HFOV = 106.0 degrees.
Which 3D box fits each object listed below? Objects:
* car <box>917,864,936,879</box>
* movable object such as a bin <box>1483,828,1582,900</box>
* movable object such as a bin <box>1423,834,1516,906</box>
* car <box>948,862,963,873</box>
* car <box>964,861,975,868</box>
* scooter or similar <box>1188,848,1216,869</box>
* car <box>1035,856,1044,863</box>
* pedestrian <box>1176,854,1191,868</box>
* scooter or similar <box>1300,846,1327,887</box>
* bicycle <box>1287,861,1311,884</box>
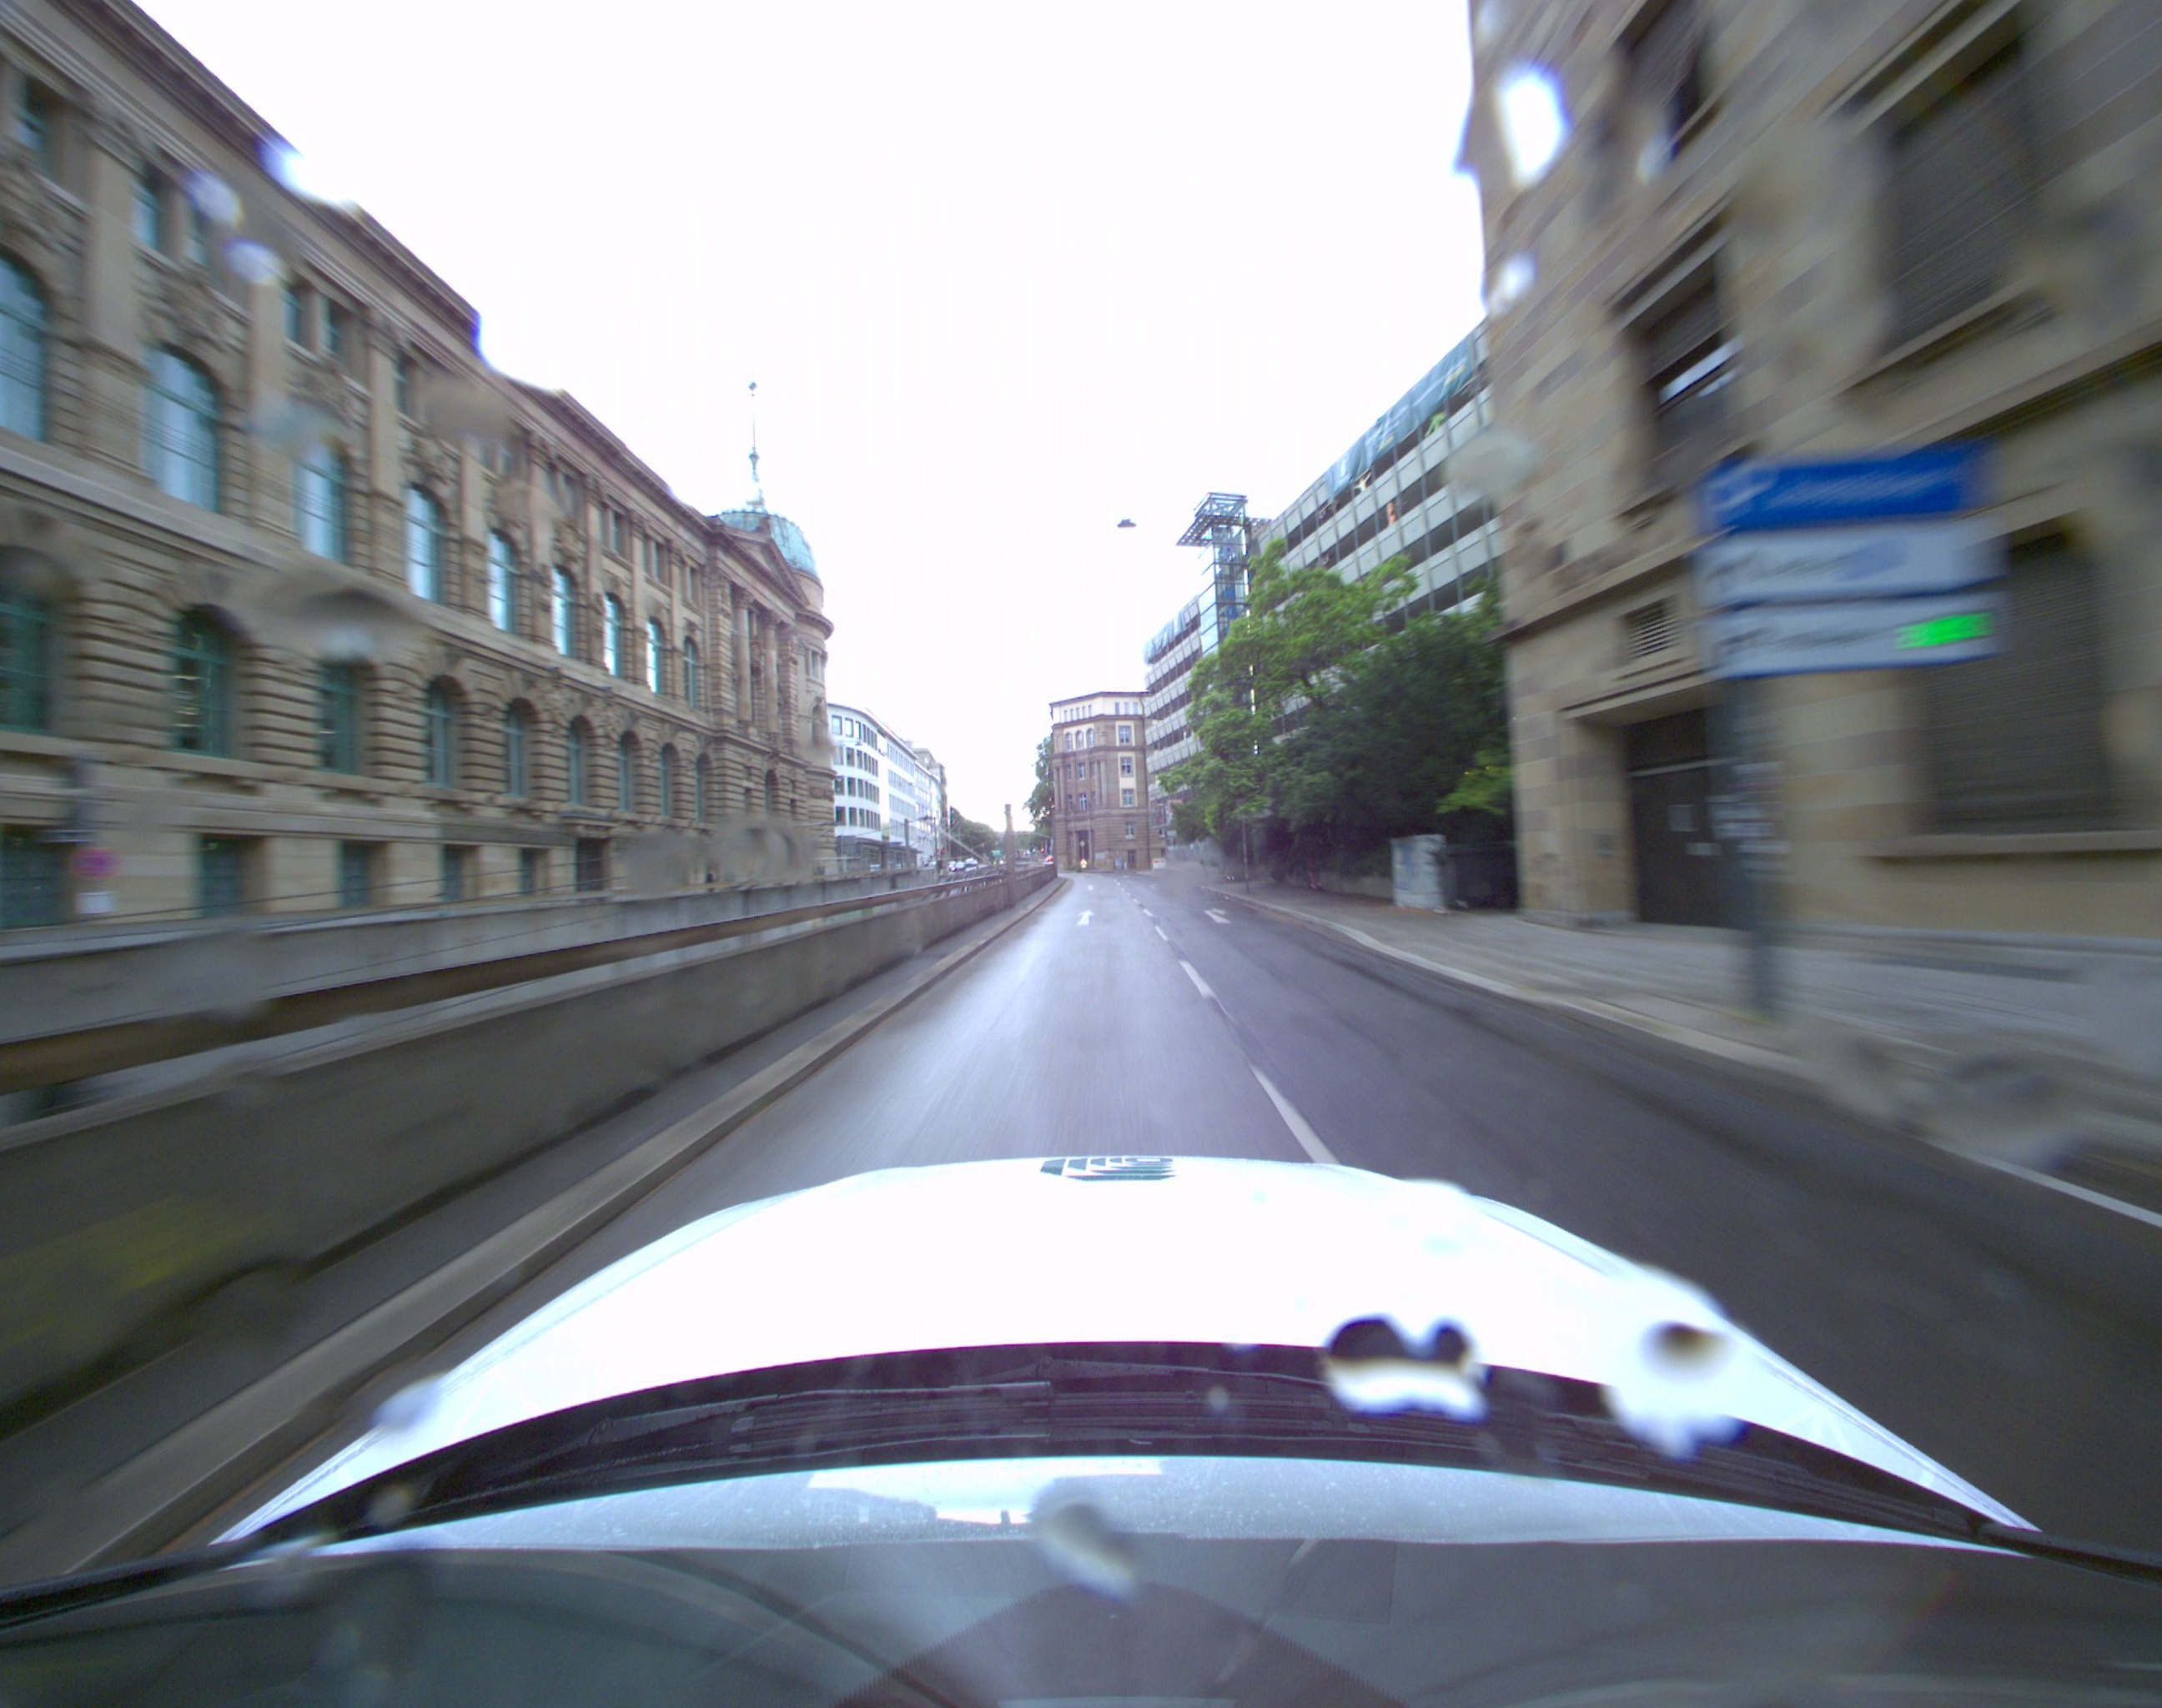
[{"bbox_3d":[-22.166,2.489,116.907,1.990,1.883,4.920,-2,0,-4],"label":"car"},{"bbox_3d":[9.084,0.196,16.452,1.234,1.310,1.234,-5,-1,2],"label":"movable object such as a bin"},{"bbox_3d":[7.832,0.309,16.500,1.234,1.310,1.234,-5,-1,2],"label":"movable object such as a bin"},{"bbox_3d":[-19.311,2.022,125.389,1.990,1.527,3.657,-2,0,-4],"label":"car"},{"bbox_3d":[-23.051,2.158,168.476,1.990,1.456,4.305,-2,0,-4],"label":"car"},{"bbox_3d":[7.899,0.303,53.178,1.643,1.267,0.737,-4,0,-24],"label":"scooter or similar"},{"bbox_3d":[-10.298,1.443,201.270,1.990,1.662,3.994,-2,0,-4],"label":"car"},{"bbox_3d":[8.045,0.542,63.933,0.753,1.123,1.241,-2,0,-13],"label":"pedestrian"},{"bbox_3d":[7.534,0.395,26.421,0.445,1.259,1.211,-4,0,1],"label":"scooter or similar"},{"bbox_3d":[7.665,0.648,28.729,0.499,0.754,1.211,-4,0,1],"label":"bicycle"}]
